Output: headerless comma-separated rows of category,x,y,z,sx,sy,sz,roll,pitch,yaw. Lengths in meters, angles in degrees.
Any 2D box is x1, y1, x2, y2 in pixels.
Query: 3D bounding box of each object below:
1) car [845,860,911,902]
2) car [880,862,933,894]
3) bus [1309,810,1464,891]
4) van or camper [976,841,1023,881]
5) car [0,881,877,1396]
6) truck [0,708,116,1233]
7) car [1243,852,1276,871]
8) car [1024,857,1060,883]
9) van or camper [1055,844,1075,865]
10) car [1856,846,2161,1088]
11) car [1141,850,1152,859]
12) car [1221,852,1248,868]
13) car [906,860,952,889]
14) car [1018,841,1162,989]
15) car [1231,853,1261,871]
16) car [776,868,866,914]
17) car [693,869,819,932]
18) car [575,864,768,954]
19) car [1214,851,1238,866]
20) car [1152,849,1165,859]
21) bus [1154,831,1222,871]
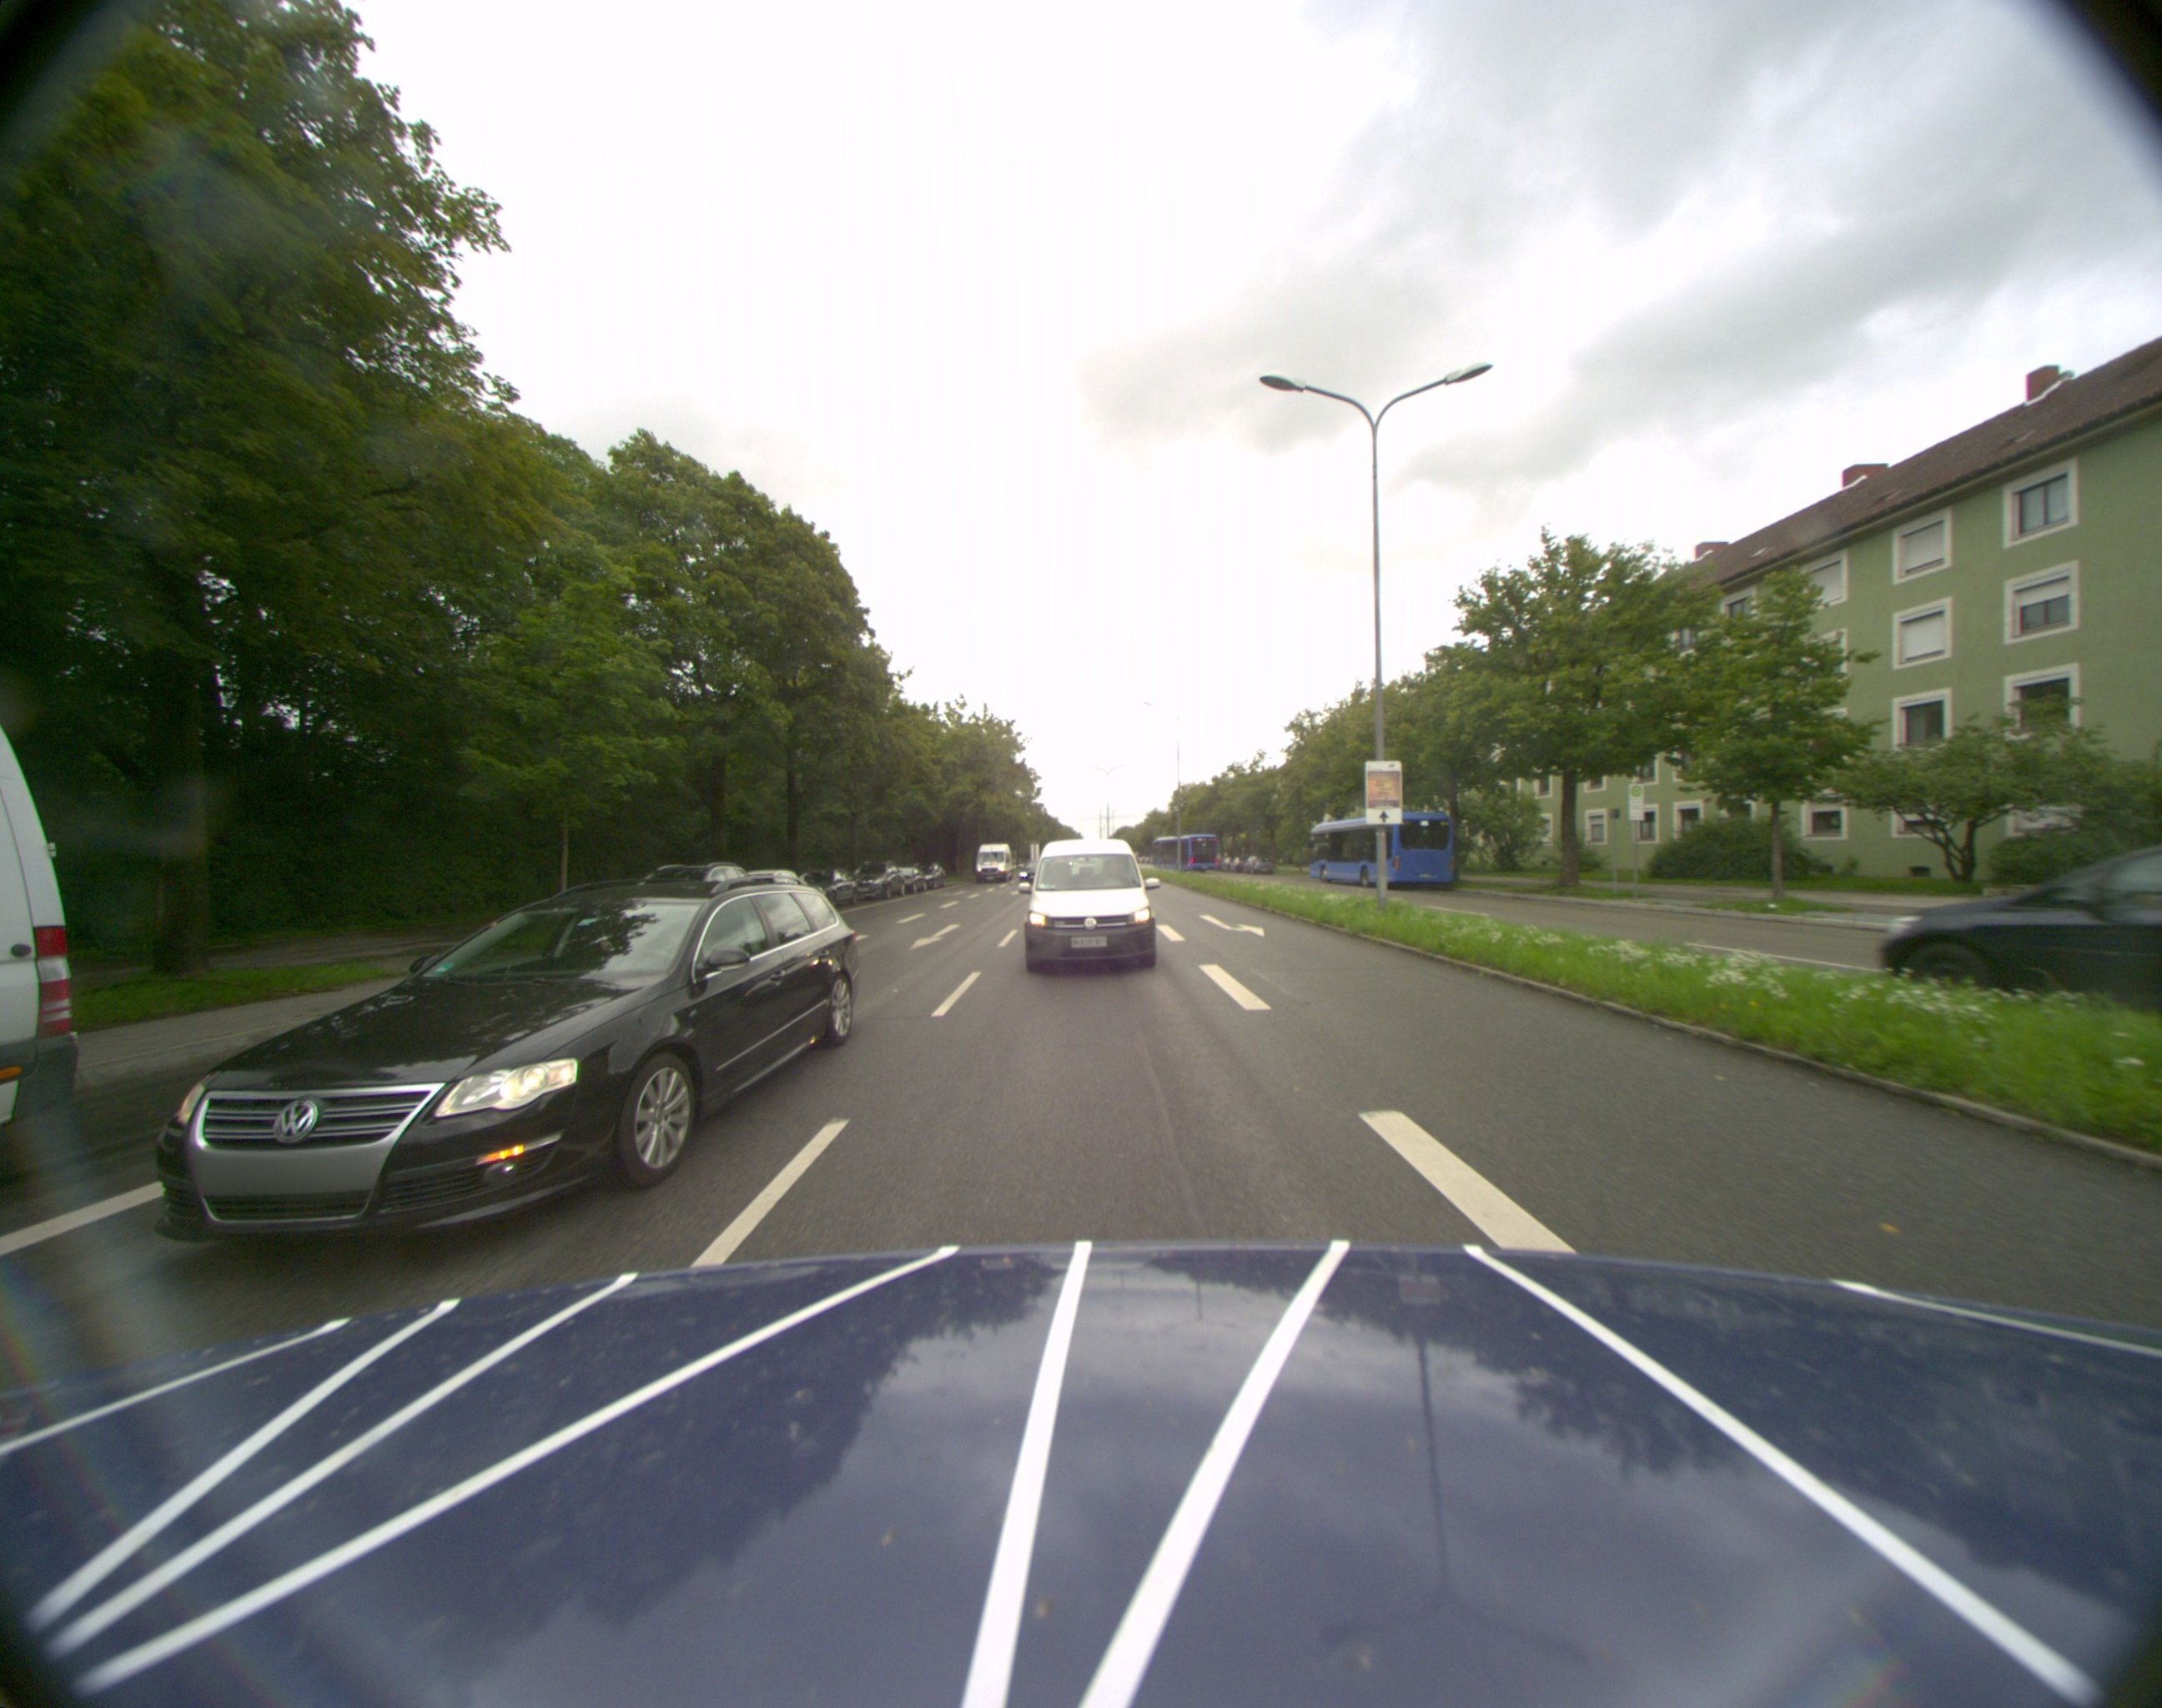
car,-8.875,1.129,33.582,1.752,1.640,4.255,-1,0,0
car,-8.887,1.183,38.952,1.752,1.458,4.038,-1,0,0
bus,14.357,-0.150,37.245,2.752,3.324,12.048,0,0,0
van or camper,-5.519,0.441,52.468,2.183,2.546,7.075,-1,0,2
car,-2.843,1.025,4.838,1.752,1.466,4.671,-2,0,0
truck,-6.377,0.613,0.551,1.998,2.588,7.226,-2,0,0
car,14.868,0.625,63.514,1.857,1.454,3.910,-2,0,2
car,-2.355,0.962,47.232,1.819,1.421,4.672,-2,0,2
van or camper,-2.550,0.054,125.178,2.780,3.219,7.075,-1,0,2
car,7.922,0.736,4.780,1.702,1.560,4.291,-1,0,0
car,13.972,0.114,162.988,1.998,2.002,4.000,-1,0,0
car,14.907,0.605,74.074,1.857,1.454,3.910,-2,0,2
car,-8.727,1.148,43.883,1.752,1.458,4.255,-1,0,0
car,0.121,0.749,11.808,1.752,1.809,4.671,-1,0,0
car,14.773,0.721,68.219,1.857,1.454,3.910,-2,0,2
car,-9.360,1.269,27.710,1.752,1.420,4.255,-1,0,0
car,-9.298,1.258,22.171,1.752,1.515,4.396,-1,0,0
car,-8.890,1.103,17.024,1.884,1.640,4.396,-1,0,0
car,15.099,0.496,79.319,1.857,1.454,3.910,-2,0,2
car,15.274,0.013,150.056,1.998,2.002,4.000,-1,0,0
bus,9.589,-0.260,70.154,2.754,3.324,12.263,0,0,-9
